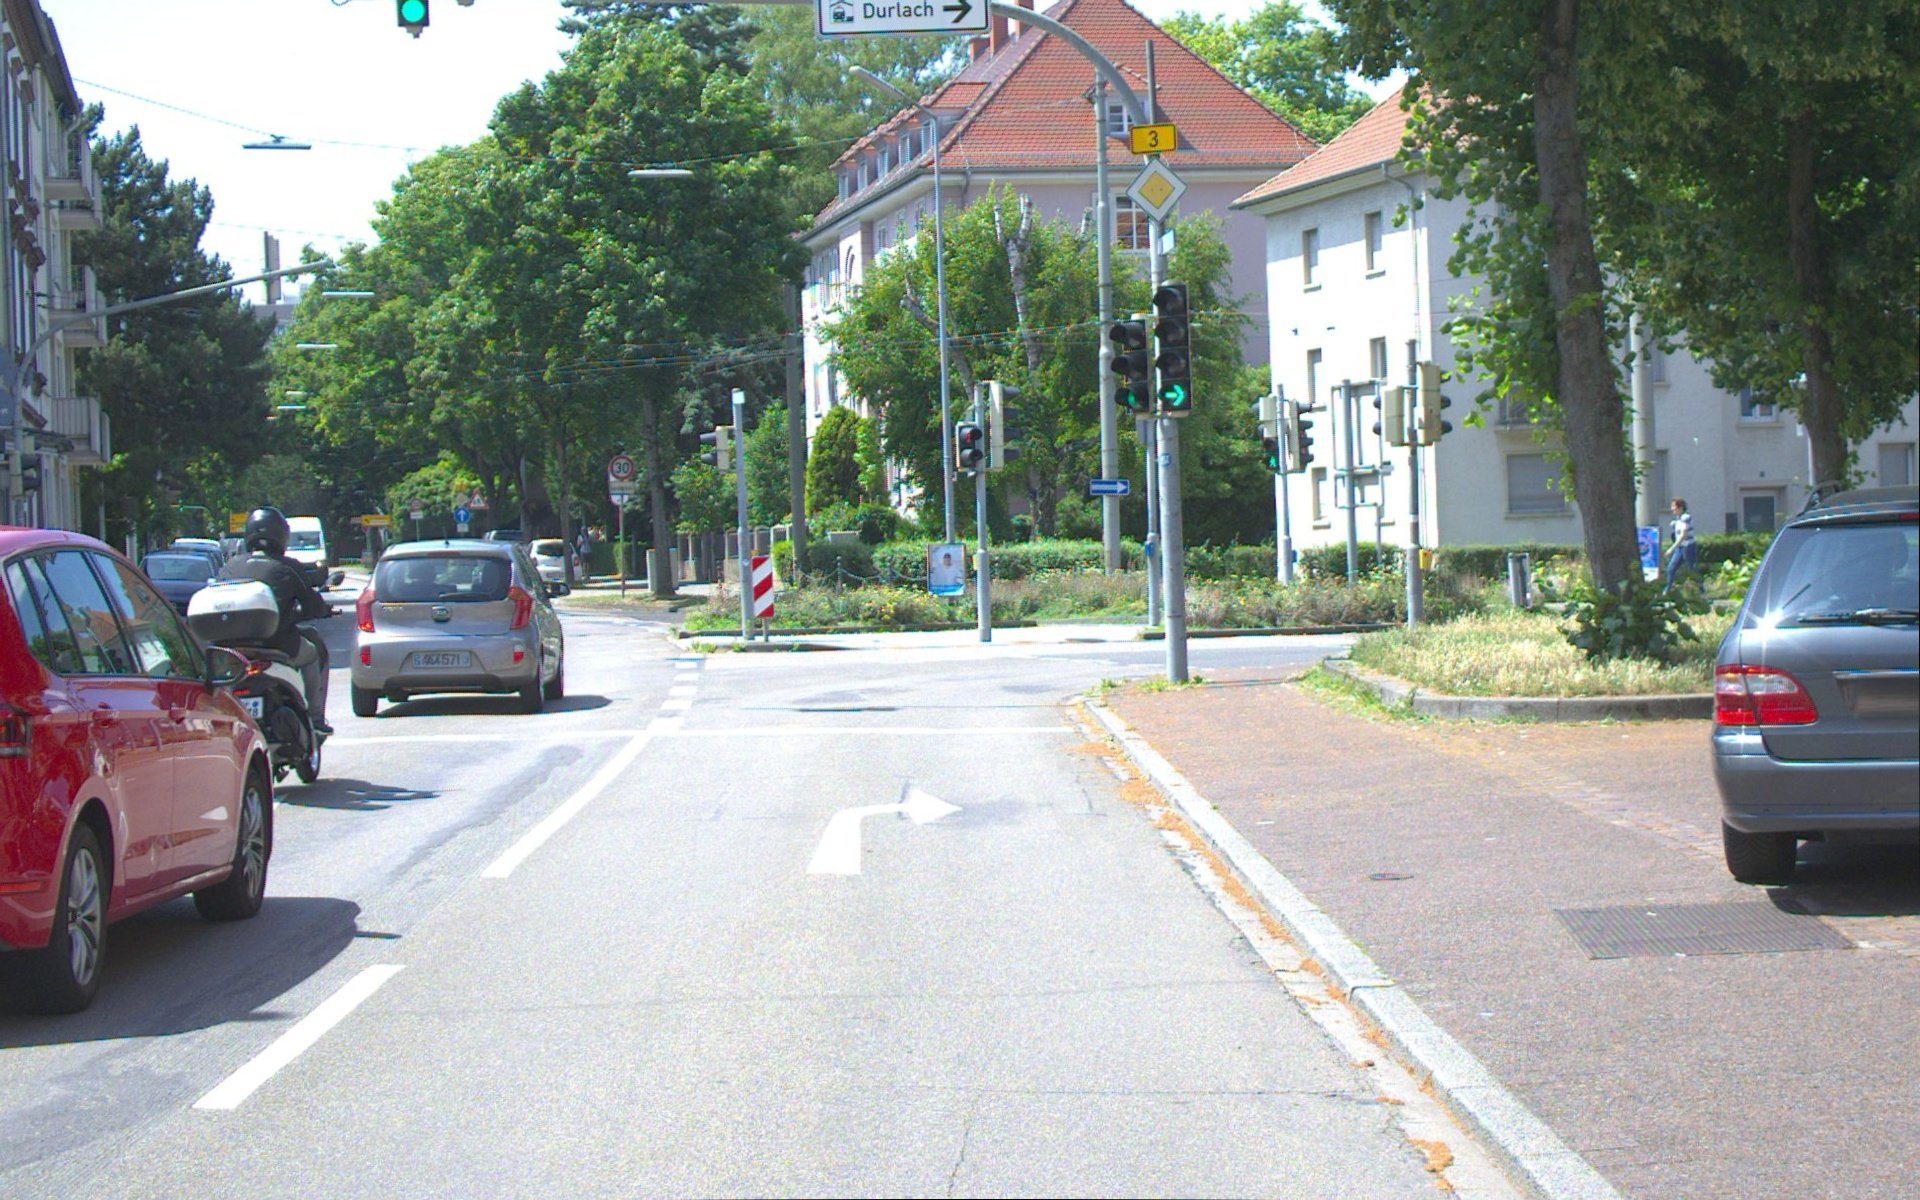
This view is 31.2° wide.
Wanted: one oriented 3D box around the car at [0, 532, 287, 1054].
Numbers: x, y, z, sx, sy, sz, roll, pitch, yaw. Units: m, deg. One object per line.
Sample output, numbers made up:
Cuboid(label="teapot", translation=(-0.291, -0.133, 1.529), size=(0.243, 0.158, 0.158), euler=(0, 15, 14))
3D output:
Cuboid(label="car", translation=(-3.676, 0.551, 12.229), size=(1.799, 1.552, 4.038), euler=(-1, 1, -1))

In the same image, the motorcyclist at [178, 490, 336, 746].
Cuboid(label="motorcyclist", translation=(-4.100, 0.091, 20.114), size=(0.711, 1.440, 1.019), euler=(-1, 1, -2))

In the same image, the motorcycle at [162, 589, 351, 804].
Cuboid(label="motorcycle", translation=(-4.096, 0.532, 20.169), size=(0.711, 1.130, 2.197), euler=(-1, 1, -2))

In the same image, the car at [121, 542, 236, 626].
Cuboid(label="car", translation=(-14.721, -0.297, 64.655), size=(1.993, 1.514, 4.001), euler=(-1, 0, -14))

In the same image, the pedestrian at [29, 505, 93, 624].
Cuboid(label="pedestrian", translation=(-14.833, -0.592, 56.732), size=(0.935, 1.925, 0.977), euler=(-2, 1, -13))

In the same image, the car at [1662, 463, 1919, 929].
Cuboid(label="car", translation=(4.212, 0.223, 14.180), size=(1.836, 1.543, 5.152), euler=(-2, 2, 20))

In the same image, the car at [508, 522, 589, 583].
Cuboid(label="car", translation=(-12.593, -1.471, 105.051), size=(1.993, 1.801, 4.001), euler=(-1, 1, -13))

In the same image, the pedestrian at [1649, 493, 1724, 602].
Cuboid(label="pedestrian", translation=(11.512, -0.836, 54.464), size=(0.835, 1.699, 0.762), euler=(-2, 1, -28))

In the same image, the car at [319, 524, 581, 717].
Cuboid(label="car", translation=(-4.445, 0.133, 30.479), size=(1.799, 1.552, 4.038), euler=(-1, 1, -2))

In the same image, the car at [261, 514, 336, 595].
Cuboid(label="car", translation=(-22.523, -1.557, 117.286), size=(2.215, 2.492, 7.556), euler=(-5, 2, -10))

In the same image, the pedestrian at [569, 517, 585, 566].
Cuboid(label="pedestrian", translation=(-13.061, -1.993, 117.329), size=(0.508, 1.650, 0.466), euler=(-1, 1, -8))
